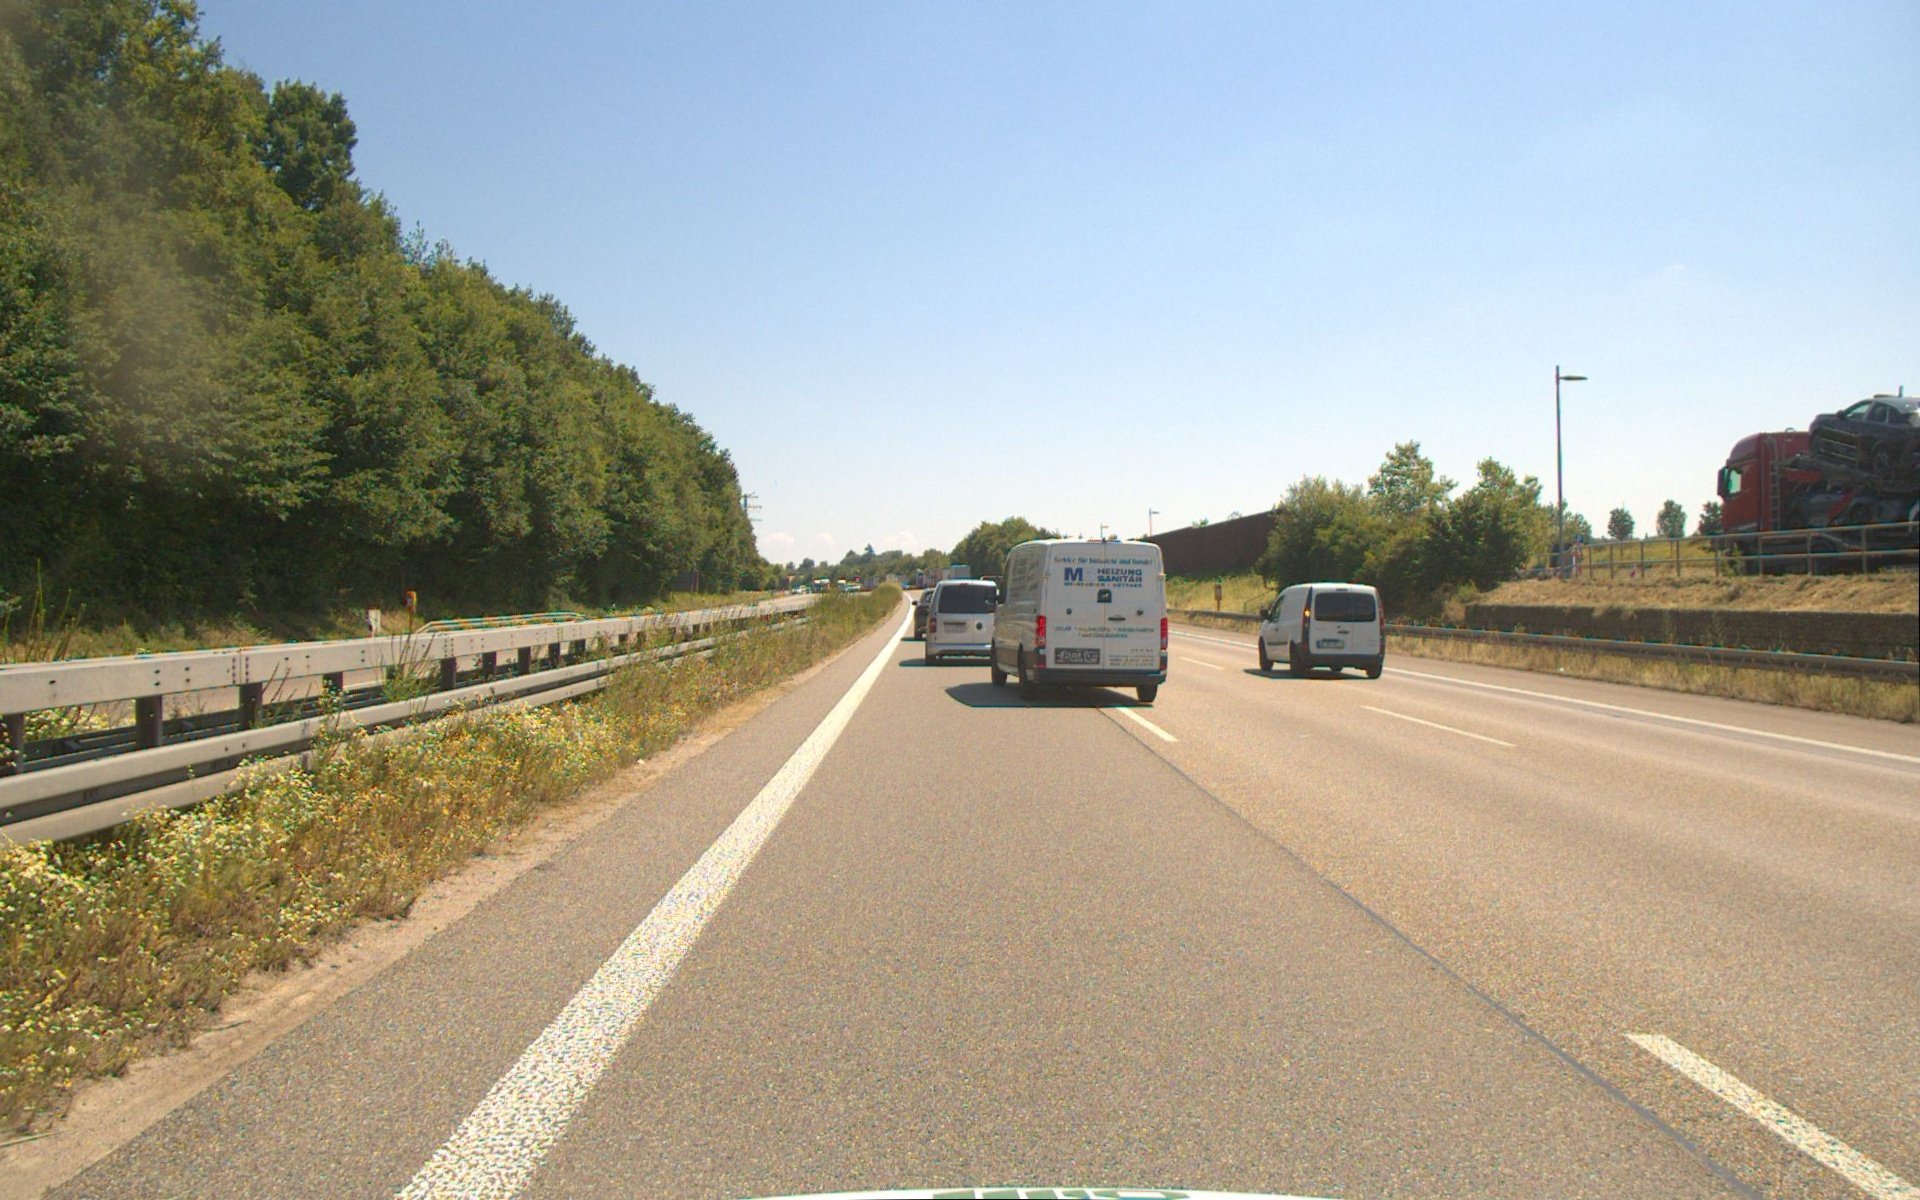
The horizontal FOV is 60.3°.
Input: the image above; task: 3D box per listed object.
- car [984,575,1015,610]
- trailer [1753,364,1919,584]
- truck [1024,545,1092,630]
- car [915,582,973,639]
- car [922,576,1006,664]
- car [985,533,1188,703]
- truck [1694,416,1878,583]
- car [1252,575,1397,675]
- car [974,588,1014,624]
[{"bbox_3d":[2.233,-0.405,94.289,1.640,1.925,4.089,-1,0,1],"label":"car"},{"bbox_3d":[20.804,-2.624,31.228,2.552,4.332,18.417,1,0,-1],"label":"trailer"},{"bbox_3d":[6.136,-0.727,106.141,3.710,5.087,12.519,1,0,1],"label":"truck"},{"bbox_3d":[-0.479,0.334,52.783,1.709,1.731,4.089,-1,0,1],"label":"car"},{"bbox_3d":[0.115,0.424,36.169,1.709,1.795,4.089,-1,0,1],"label":"car"},{"bbox_3d":[1.777,0.256,25.285,2.140,2.293,5.356,1,0,-6],"label":"car"},{"bbox_3d":[20.666,-2.426,41.578,2.549,3.894,3.999,1,0,-1],"label":"truck"},{"bbox_3d":[7.283,0.481,33.486,1.911,1.870,4.177,-1,0,-1],"label":"car"},{"bbox_3d":[1.634,0.288,80.018,1.862,1.701,4.089,-1,0,1],"label":"car"}]
